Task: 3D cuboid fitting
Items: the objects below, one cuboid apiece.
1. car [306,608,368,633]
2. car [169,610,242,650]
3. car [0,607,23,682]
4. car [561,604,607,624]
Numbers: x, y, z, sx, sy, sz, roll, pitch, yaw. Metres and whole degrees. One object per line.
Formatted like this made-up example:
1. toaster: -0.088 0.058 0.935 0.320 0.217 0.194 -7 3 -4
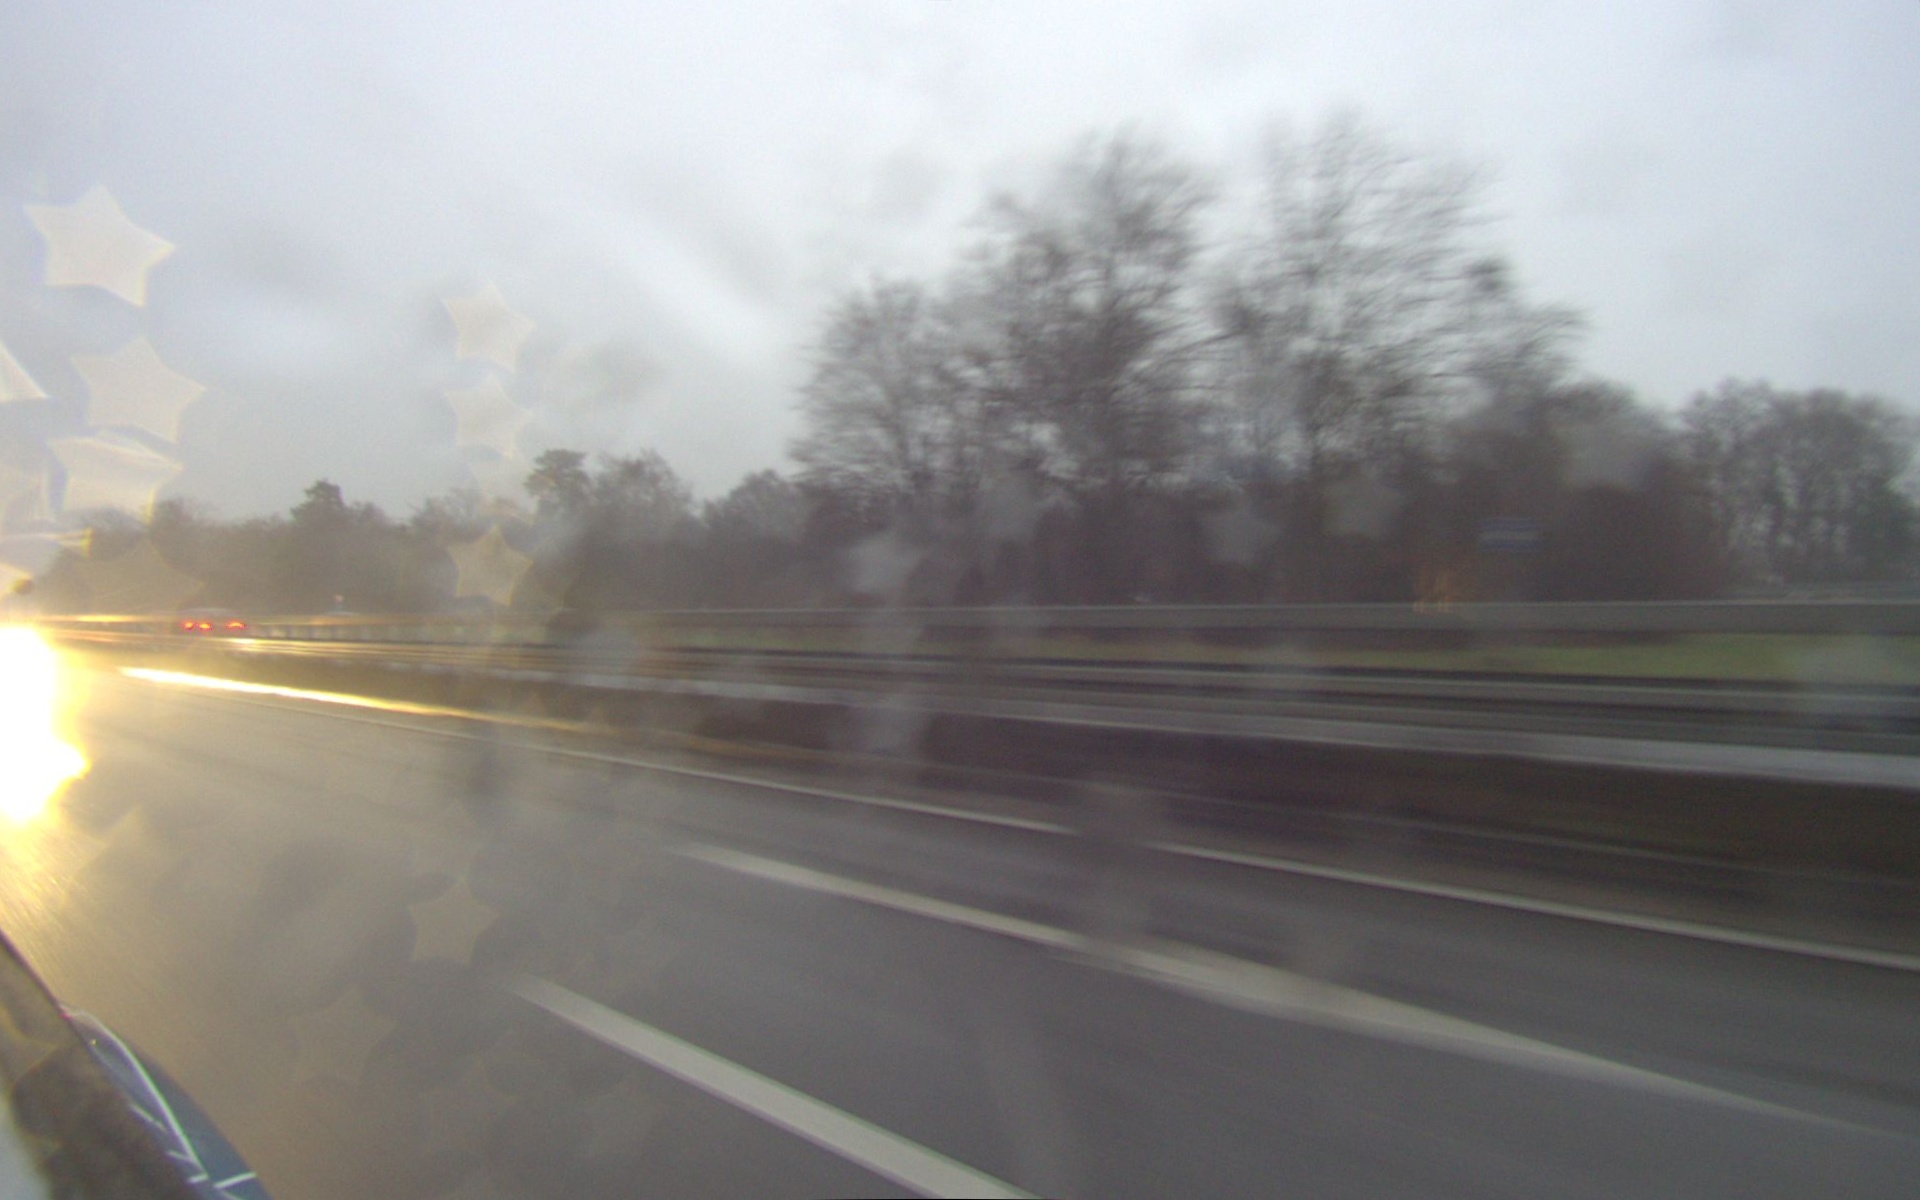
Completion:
1. car: -50.995 1.654 82.873 4.162 2.029 1.773 -1 0 10
2. car: -29.906 1.165 40.085 3.428 1.510 1.543 -1 0 40
3. car: -26.603 1.175 27.158 3.998 1.948 1.744 -1 0 41
4. car: -29.210 1.113 78.696 2.992 1.504 1.572 -1 0 -3
